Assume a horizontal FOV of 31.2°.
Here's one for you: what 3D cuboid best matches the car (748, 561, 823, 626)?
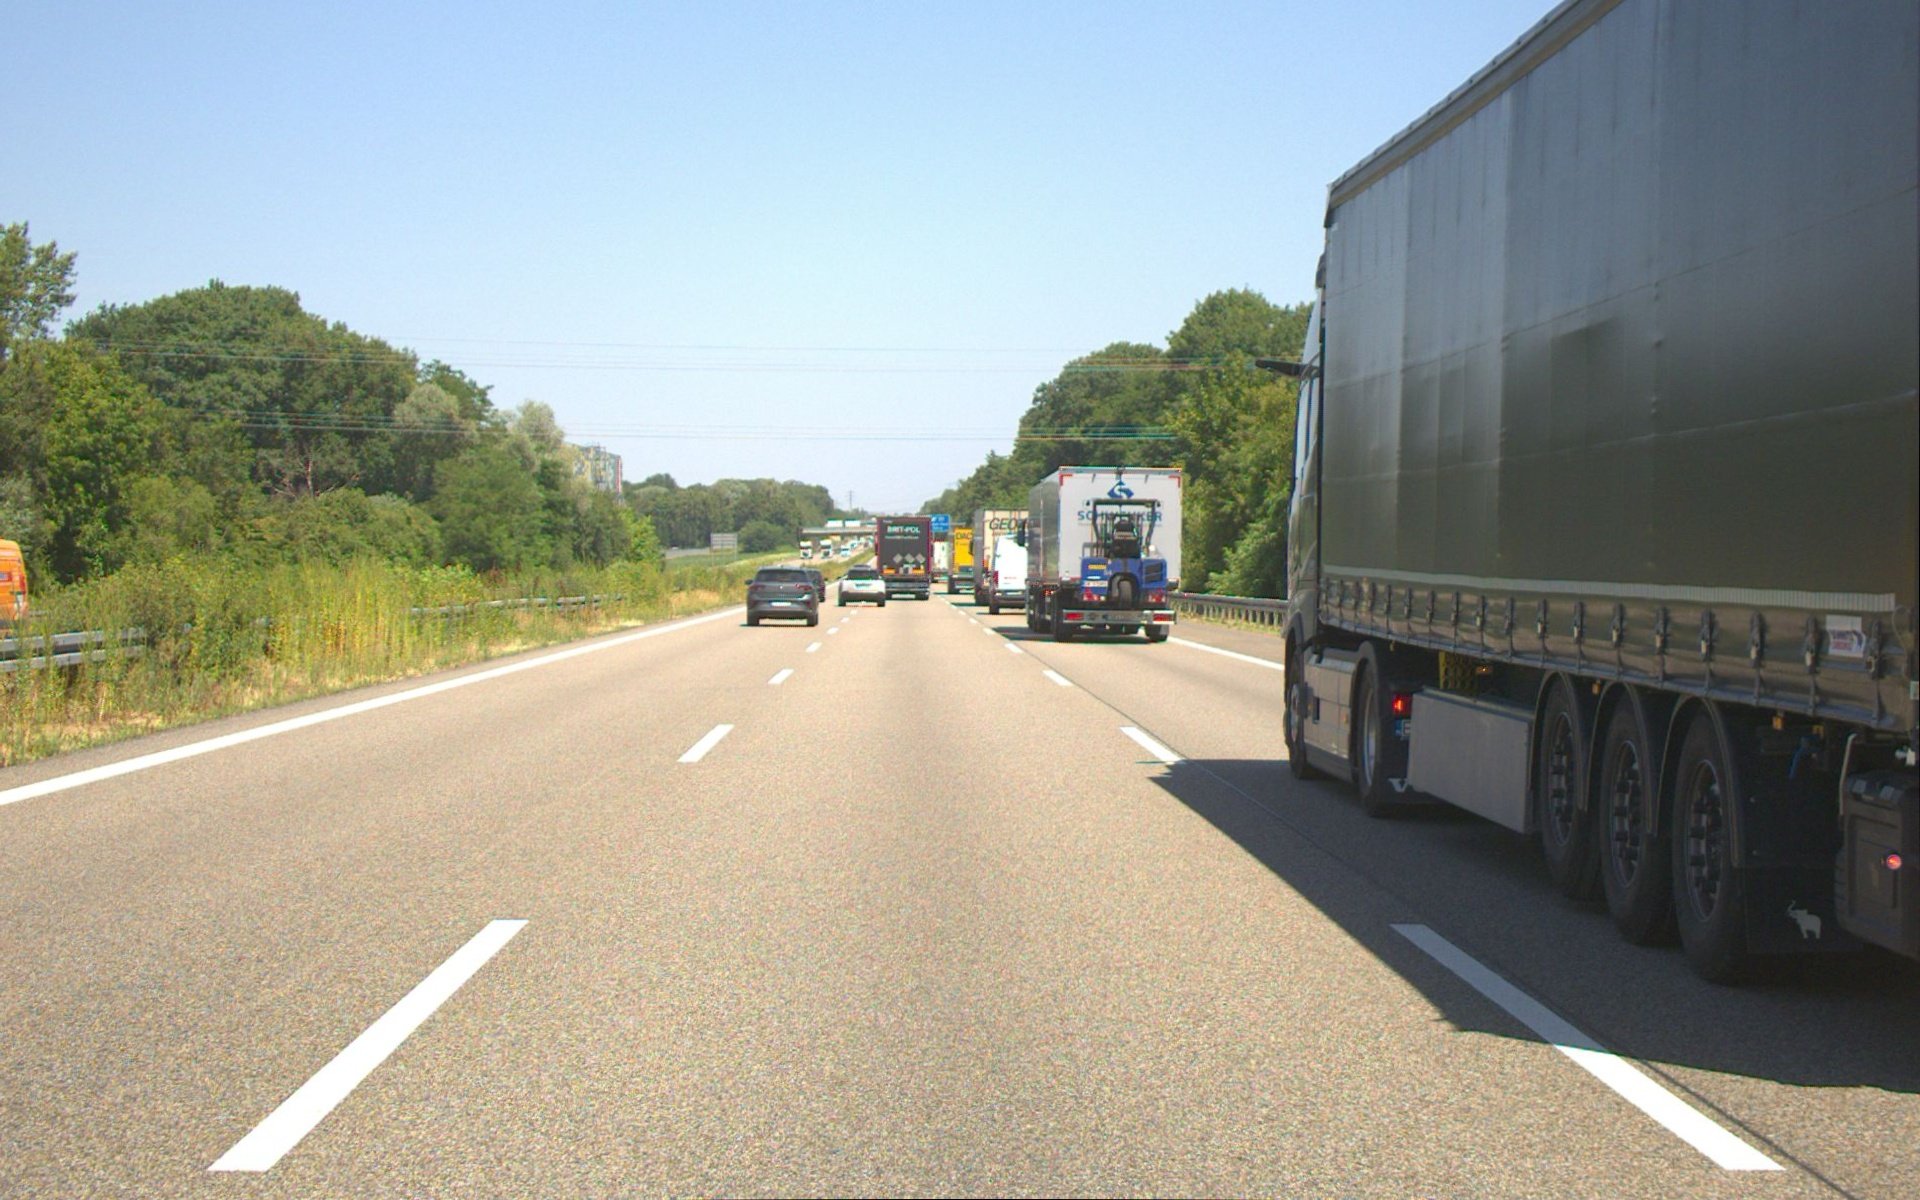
[{"bbox_3d":[-4.510,-0.184,89.164,1.759,1.525,4.286,1,2,-1],"label":"car"}]

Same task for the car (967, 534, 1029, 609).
[{"bbox_3d":[1.270,-0.982,115.808,1.907,2.417,4.286,1,2,-1],"label":"car"}]

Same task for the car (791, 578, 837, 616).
[{"bbox_3d":[-6.466,-0.161,152.694,1.900,1.525,4.084,1,2,-1],"label":"car"}]

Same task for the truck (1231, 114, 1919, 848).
[{"bbox_3d":[3.929,-0.695,23.247,3.464,4.163,6.844,1,0,-1],"label":"truck"}]

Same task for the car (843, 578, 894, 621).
[{"bbox_3d":[-3.591,-0.050,135.463,1.900,1.525,4.084,1,2,-1],"label":"car"}]

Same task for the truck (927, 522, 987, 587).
[{"bbox_3d":[-0.149,-2.766,206.449,3.489,3.713,7.108,1,2,0],"label":"truck"}]

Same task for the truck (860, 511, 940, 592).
[{"bbox_3d":[-2.850,-2.372,165.630,3.667,3.713,7.108,1,2,0],"label":"truck"}]

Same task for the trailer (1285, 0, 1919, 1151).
[{"bbox_3d":[4.005,-0.661,16.072,3.434,4.167,13.633,1,1,-1],"label":"trailer"}]

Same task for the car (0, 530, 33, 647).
[{"bbox_3d":[-22.367,-0.239,76.535,2.101,2.548,6.187,-1,2,-3],"label":"car"}]

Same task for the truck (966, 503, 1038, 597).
[{"bbox_3d":[1.711,-2.095,141.607,2.792,3.713,7.108,1,2,0],"label":"truck"}]

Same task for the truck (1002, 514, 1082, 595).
[{"bbox_3d":[3.911,-2.240,165.737,3.667,3.713,7.108,1,2,0],"label":"truck"}]

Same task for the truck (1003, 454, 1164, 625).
[{"bbox_3d":[2.895,-1.542,84.001,3.057,3.866,10.035,1,2,-3],"label":"truck"}]

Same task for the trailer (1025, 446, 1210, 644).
[{"bbox_3d":[3.264,-1.242,74.073,3.122,3.913,9.938,1,2,-2],"label":"trailer"}]
